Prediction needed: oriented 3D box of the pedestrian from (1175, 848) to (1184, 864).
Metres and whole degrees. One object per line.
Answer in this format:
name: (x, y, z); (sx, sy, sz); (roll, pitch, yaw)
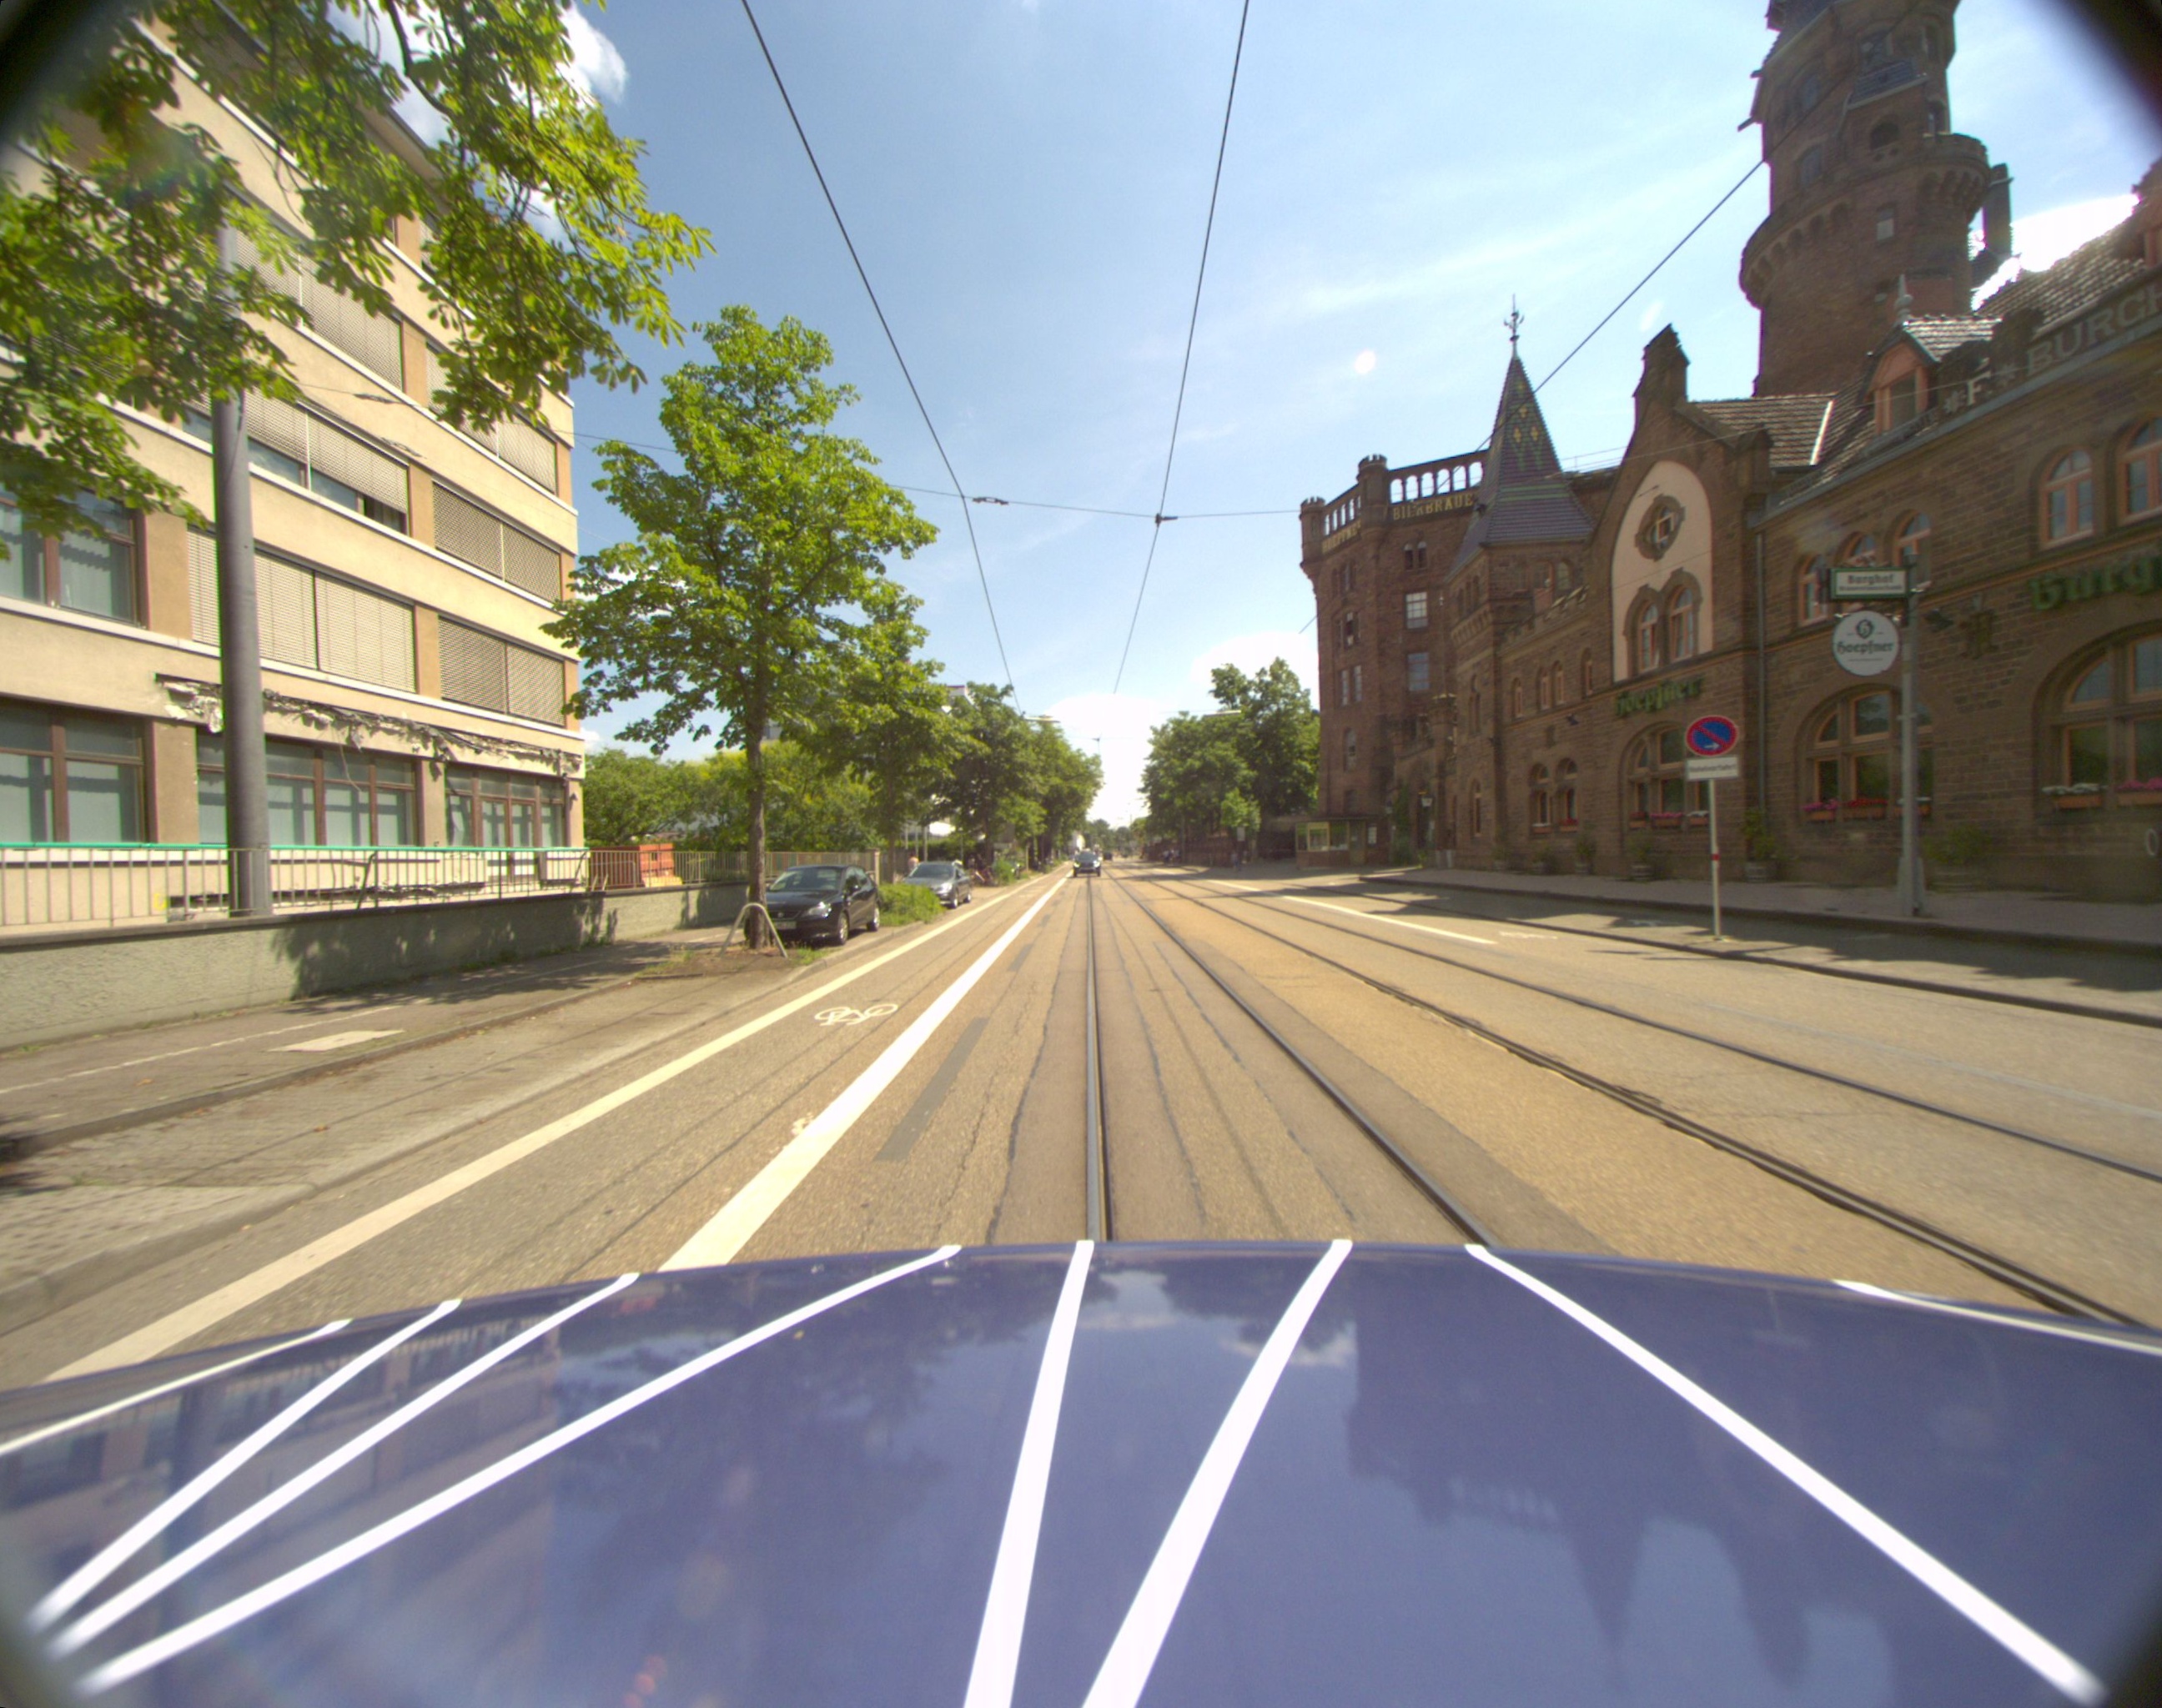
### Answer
pedestrian: (11.321, 0.266, 87.321); (0.754, 1.766, 0.919); (-5, 0, 0)

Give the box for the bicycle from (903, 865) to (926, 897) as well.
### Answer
bicycle: (-6.960, 1.098, 31.832); (0.556, 1.258, 1.774); (1, 0, 1)

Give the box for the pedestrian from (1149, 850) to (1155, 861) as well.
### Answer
pedestrian: (11.964, 0.269, 127.532); (0.750, 1.738, 0.919); (-4, 0, 0)

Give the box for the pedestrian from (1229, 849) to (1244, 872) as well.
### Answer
pedestrian: (10.879, 0.451, 53.188); (0.801, 1.579, 0.919); (-5, 0, 0)

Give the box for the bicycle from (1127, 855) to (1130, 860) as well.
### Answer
bicycle: (10.083, 0.710, 161.210); (0.661, 1.156, 1.895); (0, 0, 1)

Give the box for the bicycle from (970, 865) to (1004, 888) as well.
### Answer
bicycle: (-4.663, 1.116, 37.575); (1.589, 1.054, 0.562); (-2, 1, -1)

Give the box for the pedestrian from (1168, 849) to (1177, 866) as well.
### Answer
pedestrian: (9.900, 0.341, 82.095); (0.723, 1.781, 0.919); (-5, 0, 0)

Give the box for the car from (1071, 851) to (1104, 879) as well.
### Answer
car: (0.447, 0.709, 50.794); (1.998, 1.731, 4.227); (-3, 0, 1)

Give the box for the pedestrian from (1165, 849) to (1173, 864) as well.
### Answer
pedestrian: (10.357, 0.303, 89.582); (0.679, 1.780, 0.919); (-5, 0, 0)

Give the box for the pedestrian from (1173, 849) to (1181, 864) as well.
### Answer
pedestrian: (11.330, 0.277, 89.662); (0.679, 1.766, 0.919); (-5, 0, 0)

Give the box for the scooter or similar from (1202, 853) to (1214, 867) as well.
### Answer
scooter or similar: (10.800, 0.528, 64.498); (0.348, 1.120, 1.227); (-2, 2, 44)

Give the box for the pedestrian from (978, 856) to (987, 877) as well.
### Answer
pedestrian: (-7.143, 0.912, 55.138); (0.620, 1.564, 0.610); (0, 1, 1)

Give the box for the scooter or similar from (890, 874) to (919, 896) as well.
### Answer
scooter or similar: (-6.987, 1.227, 30.166); (0.763, 0.802, 1.555); (0, 0, 1)

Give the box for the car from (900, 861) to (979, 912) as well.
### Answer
car: (-4.506, 0.993, 24.825); (1.675, 1.400, 4.748); (-2, 0, 0)

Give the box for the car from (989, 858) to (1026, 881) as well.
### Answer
car: (-4.474, 0.910, 46.562); (1.756, 1.263, 3.833); (-3, 0, 1)

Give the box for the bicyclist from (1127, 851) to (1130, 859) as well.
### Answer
bicyclist: (10.080, 0.279, 161.148); (0.665, 1.615, 0.919); (0, 0, 0)

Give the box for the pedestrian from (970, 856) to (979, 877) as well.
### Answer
pedestrian: (-7.726, 0.908, 55.090); (0.514, 1.564, 0.544); (0, 1, 1)

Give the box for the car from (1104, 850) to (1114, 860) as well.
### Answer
car: (5.416, 0.158, 147.345); (1.909, 1.778, 4.255); (-1, 0, 1)

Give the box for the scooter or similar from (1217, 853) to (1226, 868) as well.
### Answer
scooter or similar: (11.295, 0.503, 61.038); (0.328, 1.120, 1.225); (-3, 0, 29)

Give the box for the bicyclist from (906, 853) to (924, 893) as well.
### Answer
bicyclist: (-6.962, 0.794, 31.883); (0.582, 1.638, 0.599); (0, 0, 1)

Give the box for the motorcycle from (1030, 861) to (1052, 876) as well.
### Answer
motorcycle: (-3.454, 1.266, 65.633); (2.056, 1.206, 0.614); (-1, 2, 40)

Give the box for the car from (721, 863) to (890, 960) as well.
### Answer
car: (-4.948, 0.952, 14.263); (1.675, 1.481, 3.980); (-2, 0, 0)
